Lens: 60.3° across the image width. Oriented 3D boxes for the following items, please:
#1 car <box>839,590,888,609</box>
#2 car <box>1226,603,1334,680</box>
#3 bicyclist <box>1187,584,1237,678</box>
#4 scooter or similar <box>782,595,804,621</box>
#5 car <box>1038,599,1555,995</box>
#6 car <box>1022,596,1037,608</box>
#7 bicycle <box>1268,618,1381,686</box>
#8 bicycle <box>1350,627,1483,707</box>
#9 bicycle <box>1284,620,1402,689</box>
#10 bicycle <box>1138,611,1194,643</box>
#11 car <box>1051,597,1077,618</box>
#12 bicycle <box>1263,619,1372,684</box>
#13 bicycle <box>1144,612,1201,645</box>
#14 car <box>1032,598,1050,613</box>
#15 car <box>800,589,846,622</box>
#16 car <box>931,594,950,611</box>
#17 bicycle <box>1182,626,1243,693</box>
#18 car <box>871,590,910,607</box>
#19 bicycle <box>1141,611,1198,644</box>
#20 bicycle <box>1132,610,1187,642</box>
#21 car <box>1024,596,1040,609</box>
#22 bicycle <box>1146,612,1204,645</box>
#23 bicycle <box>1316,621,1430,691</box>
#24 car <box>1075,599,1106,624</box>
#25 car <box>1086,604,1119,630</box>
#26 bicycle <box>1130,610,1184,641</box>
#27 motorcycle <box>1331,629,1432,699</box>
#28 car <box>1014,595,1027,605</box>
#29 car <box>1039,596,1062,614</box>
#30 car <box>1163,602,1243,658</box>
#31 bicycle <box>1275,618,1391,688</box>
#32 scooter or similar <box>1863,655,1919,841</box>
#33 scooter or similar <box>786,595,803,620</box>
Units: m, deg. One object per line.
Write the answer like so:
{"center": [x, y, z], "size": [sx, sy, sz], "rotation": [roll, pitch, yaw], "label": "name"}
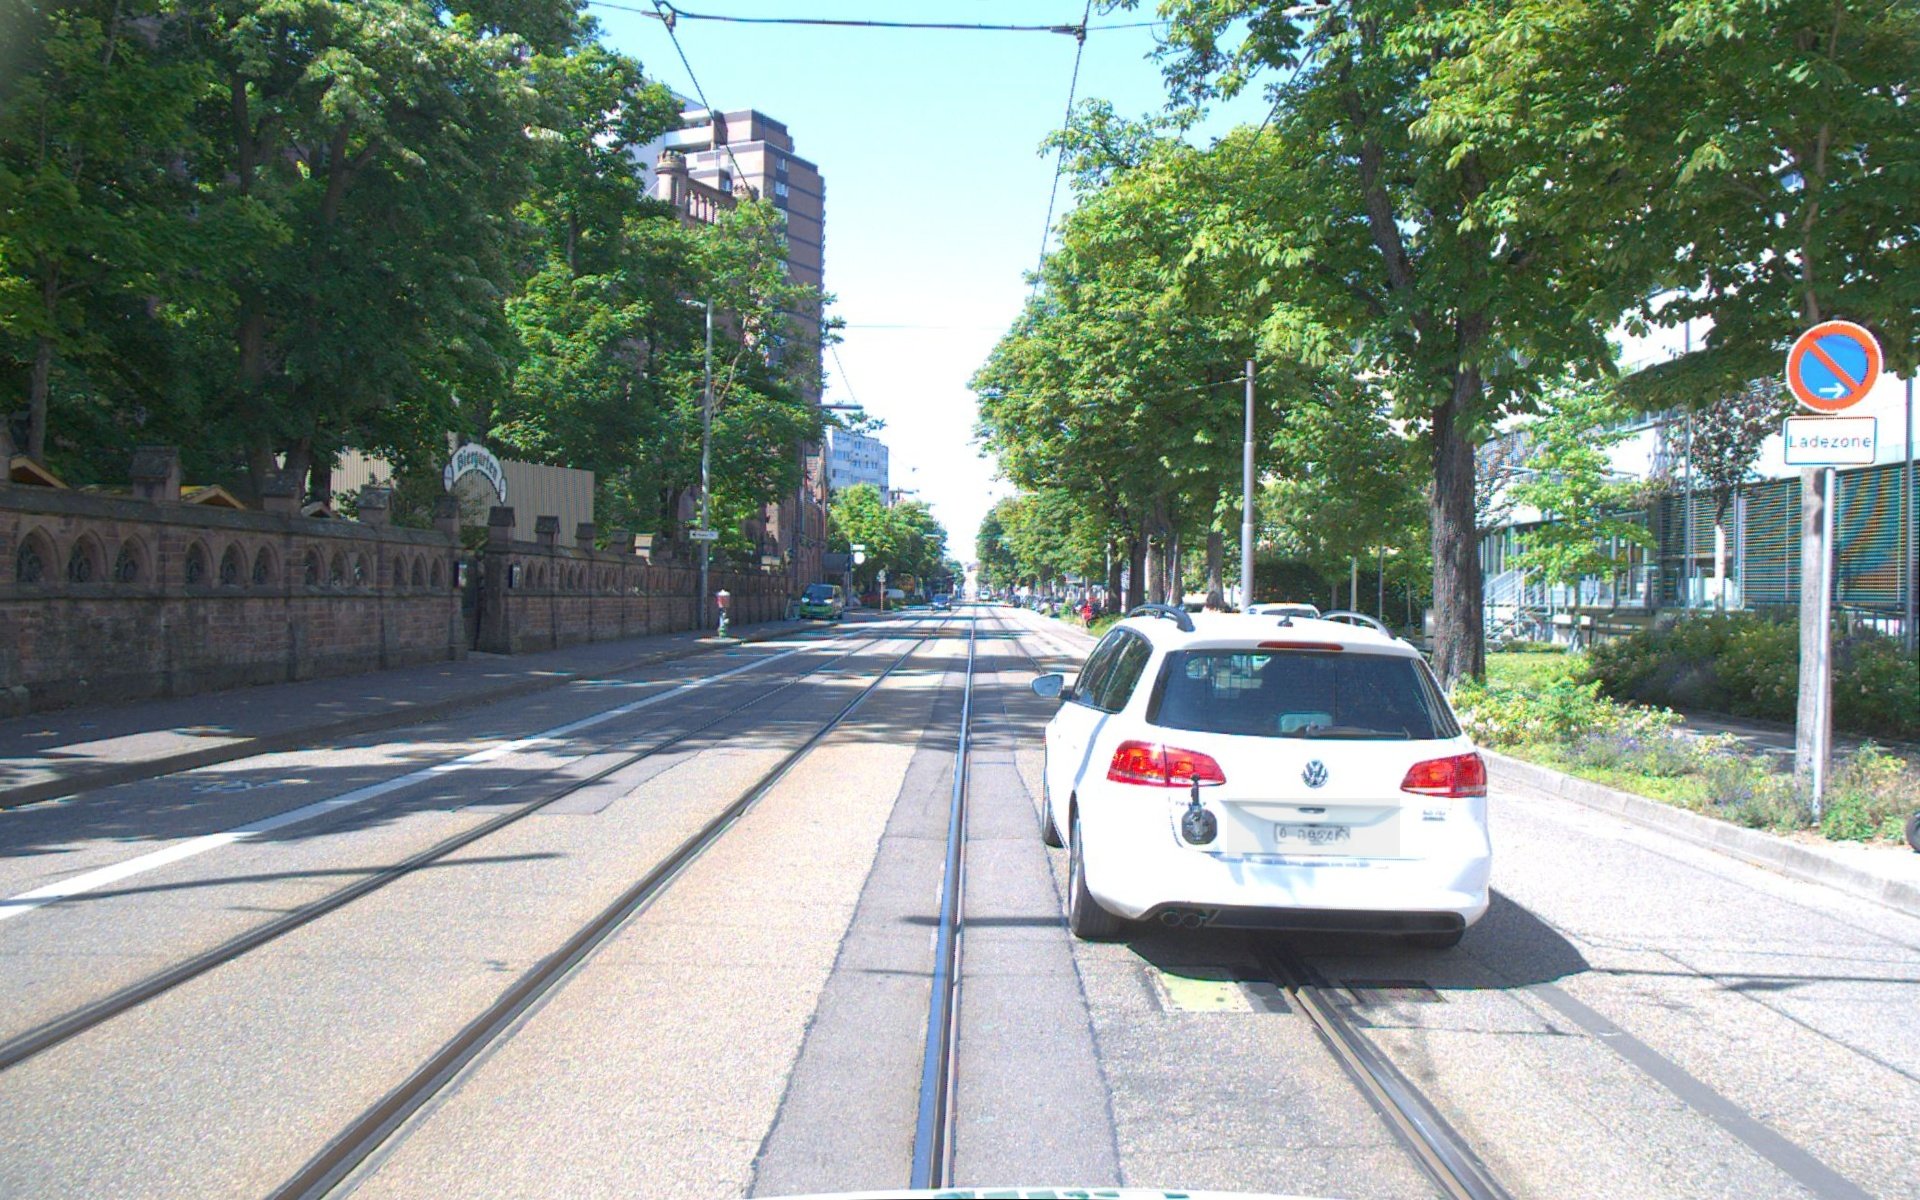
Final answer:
{"center": [-8.951, -0.020, 153.330], "size": [4.058, 1.557, 1.921], "rotation": [3, 0, -21], "label": "car"}
{"center": [6.594, 0.822, 34.397], "size": [1.557, 1.476, 3.946], "rotation": [1, 0, 1], "label": "car"}
{"center": [4.485, 0.543, 29.490], "size": [0.769, 1.658, 0.738], "rotation": [0, 0, 1], "label": "bicyclist"}
{"center": [-7.862, 0.373, 78.040], "size": [0.397, 1.175, 1.139], "rotation": [0, 0, 34], "label": "scooter or similar"}
{"center": [1.384, 0.755, 8.487], "size": [1.718, 1.467, 4.412], "rotation": [1, 0, 0], "label": "car"}
{"center": [8.033, 0.212, 191.521], "size": [1.678, 1.425, 3.844], "rotation": [0, 0, 1], "label": "car"}
{"center": [6.588, 0.935, 29.932], "size": [1.873, 1.101, 0.550], "rotation": [3, 0, -2], "label": "bicycle"}
{"center": [6.532, 0.953, 23.724], "size": [1.738, 1.102, 0.596], "rotation": [1, 0, -2], "label": "bicycle"}
{"center": [6.638, 0.939, 28.720], "size": [1.873, 1.101, 0.550], "rotation": [3, 0, -2], "label": "bicycle"}
{"center": [6.717, 0.881, 53.983], "size": [1.752, 1.028, 0.487], "rotation": [0, 0, -4], "label": "bicycle"}
{"center": [7.331, 0.536, 117.292], "size": [1.678, 1.425, 3.844], "rotation": [0, 0, 1], "label": "car"}
{"center": [6.609, 0.949, 30.574], "size": [1.848, 1.101, 0.550], "rotation": [3, 0, -2], "label": "bicycle"}
{"center": [6.774, 0.895, 52.822], "size": [1.752, 1.028, 0.487], "rotation": [0, 0, -4], "label": "bicycle"}
{"center": [7.861, 0.512, 160.527], "size": [1.678, 1.425, 3.844], "rotation": [0, 0, 1], "label": "car"}
{"center": [-7.801, 0.302, 94.425], "size": [1.952, 1.788, 4.713], "rotation": [0, 0, 3], "label": "car"}
{"center": [-1.606, 0.217, 140.315], "size": [1.462, 1.409, 3.643], "rotation": [0, 0, 1], "label": "car"}
{"center": [4.468, 1.037, 29.429], "size": [0.794, 1.097, 2.012], "rotation": [1, 0, 1], "label": "bicycle"}
{"center": [-7.850, -0.203, 186.651], "size": [3.954, 1.847, 1.975], "rotation": [0, 0, -35], "label": "car"}
{"center": [6.755, 0.889, 53.399], "size": [1.752, 1.028, 0.487], "rotation": [0, 0, -4], "label": "bicycle"}
{"center": [6.673, 0.866, 55.255], "size": [1.752, 1.028, 0.487], "rotation": [0, 0, -4], "label": "bicycle"}
{"center": [7.842, 0.279, 180.287], "size": [1.678, 1.425, 3.844], "rotation": [0, 0, 1], "label": "car"}
{"center": [6.798, 0.903, 52.239], "size": [1.752, 1.028, 0.487], "rotation": [0, 0, -4], "label": "bicycle"}
{"center": [6.849, 0.925, 27.470], "size": [1.738, 1.139, 0.596], "rotation": [1, 0, -2], "label": "bicycle"}
{"center": [7.520, 0.655, 95.636], "size": [1.677, 1.425, 3.844], "rotation": [0, 0, 2], "label": "car"}
{"center": [7.378, 0.881, 85.743], "size": [1.677, 1.303, 3.845], "rotation": [0, 0, 5], "label": "car"}
{"center": [6.641, 0.859, 55.775], "size": [1.752, 1.028, 0.487], "rotation": [0, 0, -4], "label": "bicycle"}
{"center": [6.583, 0.993, 25.876], "size": [1.436, 1.064, 0.534], "rotation": [1, 0, -2], "label": "motorcycle"}
{"center": [8.091, -0.016, 221.896], "size": [1.678, 1.425, 3.844], "rotation": [0, 0, 1], "label": "car"}
{"center": [7.420, 0.416, 135.325], "size": [1.678, 1.425, 3.843], "rotation": [0, 0, 0], "label": "car"}
{"center": [6.776, 0.805, 46.507], "size": [1.630, 1.469, 4.634], "rotation": [1, 0, 1], "label": "car"}
{"center": [6.603, 0.931, 29.319], "size": [1.873, 1.101, 0.550], "rotation": [4, 0, -2], "label": "bicycle"}
{"center": [6.591, 0.967, 10.778], "size": [1.118, 1.174, 0.493], "rotation": [1, 0, 6], "label": "scooter or similar"}
{"center": [-8.154, 0.363, 81.533], "size": [0.413, 1.221, 1.144], "rotation": [0, 0, 15], "label": "scooter or similar"}
